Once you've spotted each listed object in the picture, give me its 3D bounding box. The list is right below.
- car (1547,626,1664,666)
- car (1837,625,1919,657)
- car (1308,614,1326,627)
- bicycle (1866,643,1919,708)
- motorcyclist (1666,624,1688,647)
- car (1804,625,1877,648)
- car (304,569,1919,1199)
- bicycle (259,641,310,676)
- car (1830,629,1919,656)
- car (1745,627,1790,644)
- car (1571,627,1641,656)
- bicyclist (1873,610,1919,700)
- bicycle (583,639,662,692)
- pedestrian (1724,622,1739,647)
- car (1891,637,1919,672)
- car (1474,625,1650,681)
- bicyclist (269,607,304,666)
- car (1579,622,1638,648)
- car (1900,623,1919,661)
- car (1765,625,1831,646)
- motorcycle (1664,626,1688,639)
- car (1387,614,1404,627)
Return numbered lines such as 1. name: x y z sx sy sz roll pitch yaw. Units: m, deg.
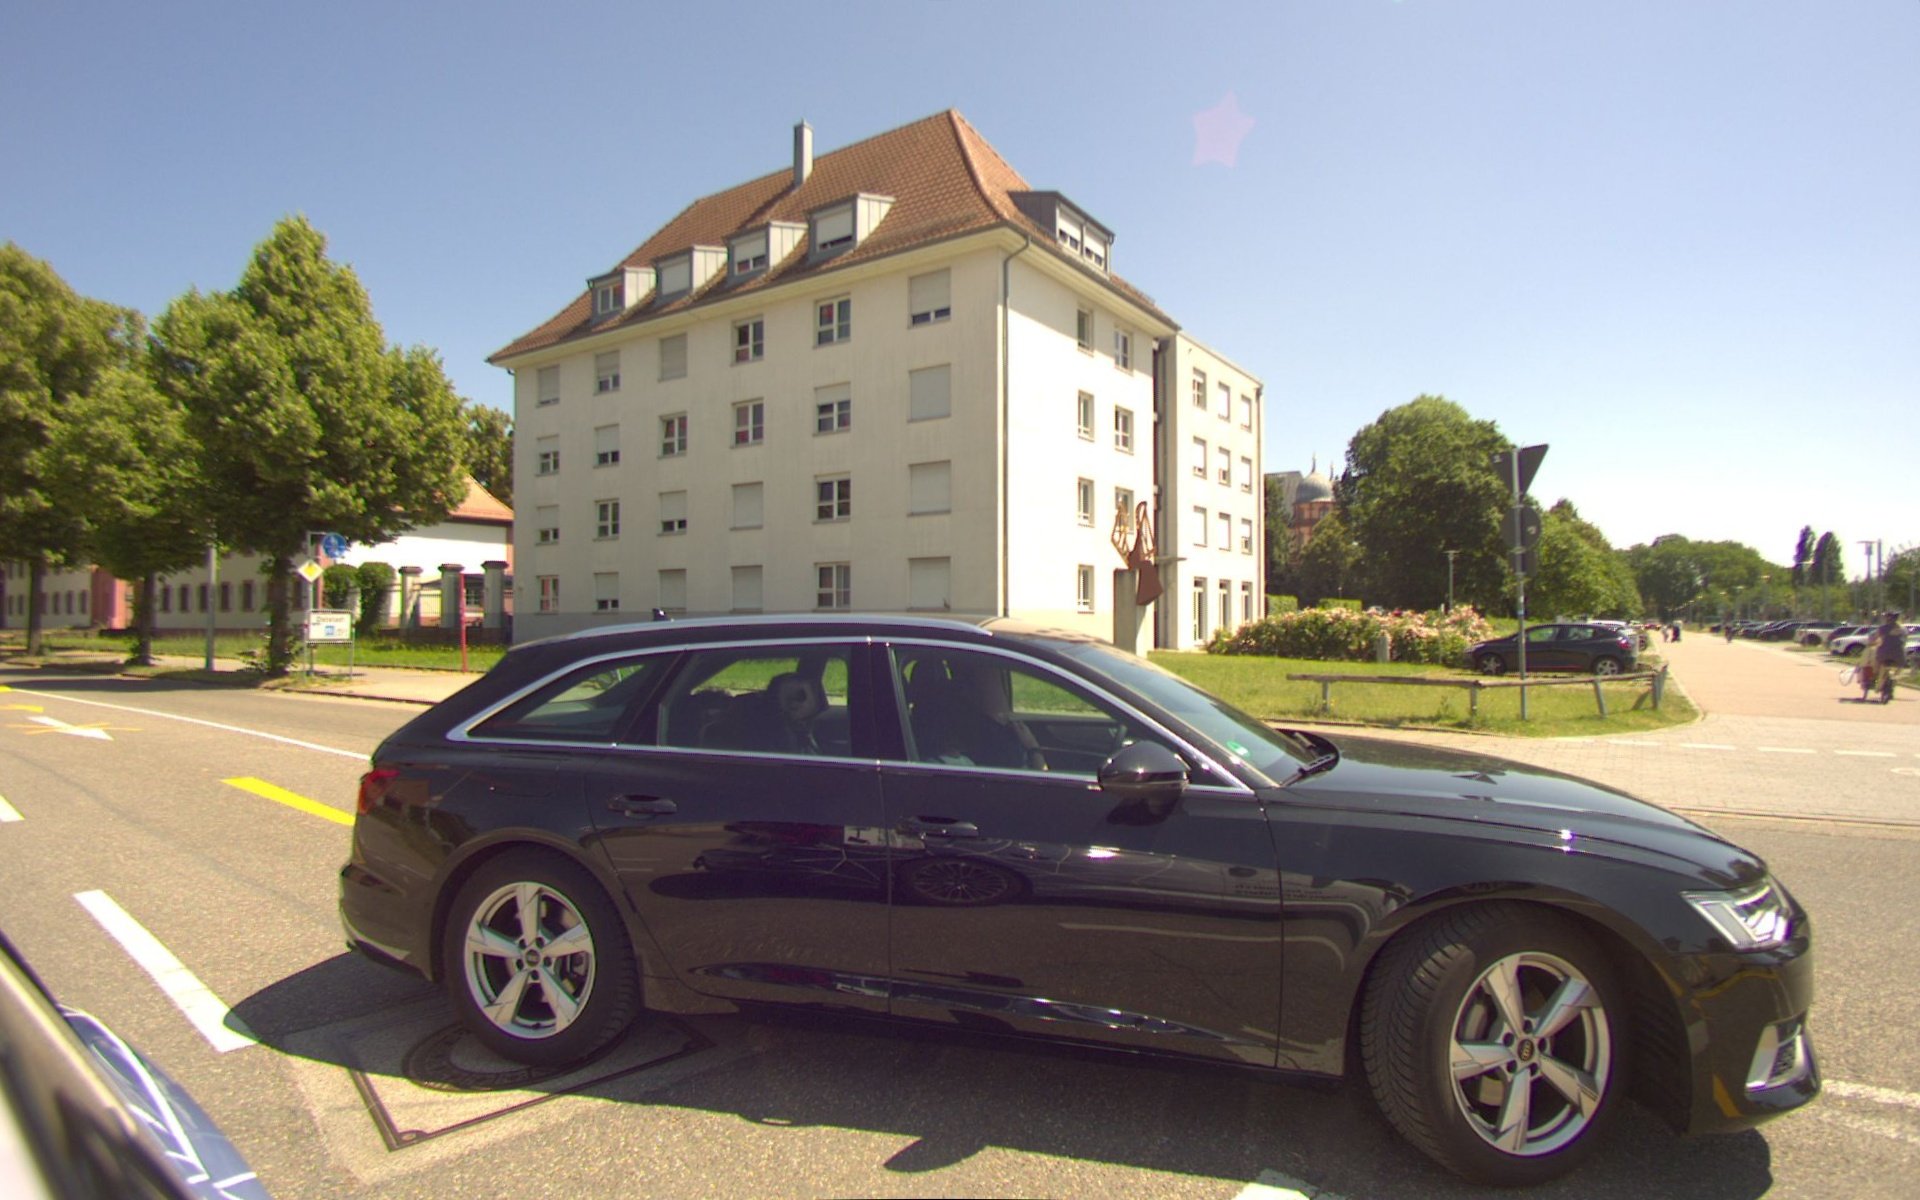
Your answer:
1. car: 25.402 1.773 39.862 3.800 1.336 1.640 1 1 36
2. car: 39.009 1.694 42.388 3.382 1.291 1.337 -2 -2 43
3. car: 42.298 2.444 119.943 1.473 1.427 2.996 -1 -2 30
4. bicycle: 17.915 1.416 19.172 0.546 1.121 1.665 1 0 22
5. motorcyclist: 51.455 2.518 72.640 1.252 1.621 1.423 -1 -2 36
6. car: 52.017 2.133 59.830 3.225 1.291 1.338 -2 -2 42
7. car: 0.241 0.714 3.607 4.576 1.462 1.792 -1 -1 16
8. bicycle: -18.982 1.637 28.433 1.904 0.922 0.556 -1 -2 36
9. car: 43.787 1.989 48.373 3.301 1.236 1.399 -1 -2 41
10. car: 72.221 3.184 90.523 3.039 1.478 1.370 -2 -2 42
11. car: 31.776 2.015 49.817 2.747 1.367 1.156 -2 -2 42
12. bicyclist: 17.928 1.028 19.109 0.710 1.650 0.967 1 0 22
13. bicycle: -7.287 1.383 21.803 1.984 1.032 0.700 -1 1 41
14. pedestrian: 52.720 2.330 69.153 0.671 1.677 1.325 -1 -2 34
15. car: 35.742 1.963 36.134 3.506 1.227 1.340 -1 -2 36
16. car: 15.532 1.323 26.177 3.799 1.337 1.640 -1 -2 36
17. bicyclist: -18.895 1.009 28.396 0.739 1.623 0.562 -1 -2 35
18. car: 34.736 1.848 54.215 2.528 1.368 1.069 -2 -2 42
19. car: 32.718 1.352 32.514 3.506 1.227 1.340 -1 -2 36
20. car: 59.802 2.503 72.281 3.533 1.475 1.530 -1 -2 37
21. motorcycle: 51.650 2.325 72.969 1.369 0.929 3.186 -1 -2 35
22. car: 49.901 2.319 116.015 1.473 1.427 2.996 -1 -2 30
